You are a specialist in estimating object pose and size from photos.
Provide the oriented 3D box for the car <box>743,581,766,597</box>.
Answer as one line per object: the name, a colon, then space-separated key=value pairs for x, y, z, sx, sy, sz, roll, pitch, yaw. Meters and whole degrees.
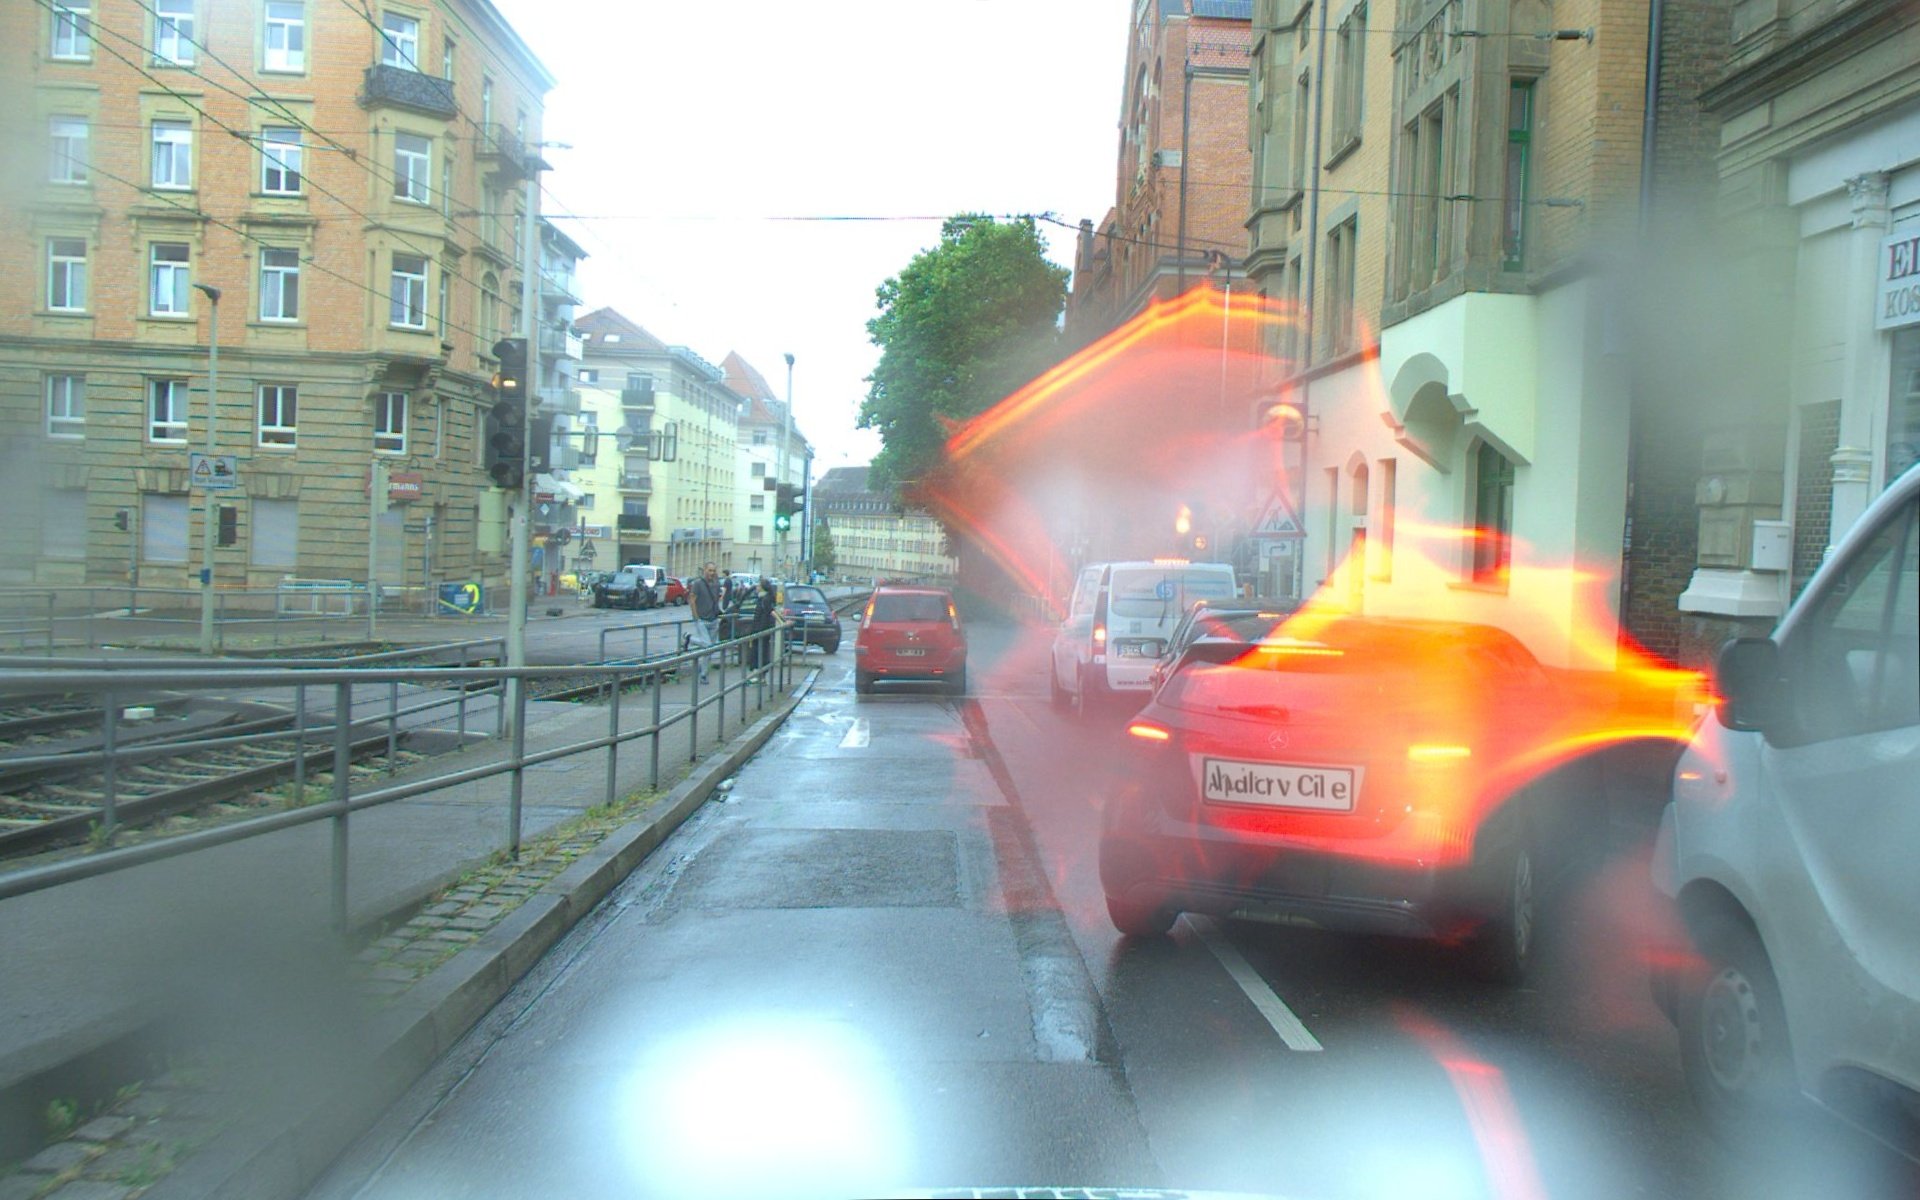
car: x=-16.060 y=-0.851 z=129.410 sx=1.367 sy=1.191 sz=3.161 roll=2 pitch=0 yaw=-1

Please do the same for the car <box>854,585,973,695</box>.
car: x=-0.743 y=0.552 z=25.178 sx=1.646 sy=1.515 sz=3.611 roll=1 pitch=0 yaw=-3

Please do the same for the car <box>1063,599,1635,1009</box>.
car: x=2.155 y=0.753 z=8.154 sx=1.858 sy=1.414 sz=3.996 roll=2 pitch=0 yaw=26

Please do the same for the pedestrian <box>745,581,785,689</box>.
pedestrian: x=-2.874 y=0.509 z=24.325 sx=0.521 sy=1.557 sz=0.436 roll=2 pitch=0 yaw=-9

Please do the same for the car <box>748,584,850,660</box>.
car: x=-3.606 y=0.470 z=36.665 sx=1.400 sy=1.515 sz=3.142 roll=2 pitch=1 yaw=-22

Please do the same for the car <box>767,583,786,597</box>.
car: x=-16.781 y=-0.896 z=151.373 sx=1.367 sy=1.191 sz=3.161 roll=2 pitch=0 yaw=-1

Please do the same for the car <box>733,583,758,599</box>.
car: x=-15.956 y=-0.668 z=123.133 sx=1.367 sy=1.191 sz=3.161 roll=2 pitch=0 yaw=-1

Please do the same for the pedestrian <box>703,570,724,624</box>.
pedestrian: x=-7.971 y=-0.101 z=53.513 sx=0.507 sy=1.695 sz=0.477 roll=3 pitch=0 yaw=2

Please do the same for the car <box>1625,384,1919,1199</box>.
car: x=3.068 y=0.531 z=2.905 sx=1.881 sy=1.969 sz=4.685 roll=2 pitch=0 yaw=0

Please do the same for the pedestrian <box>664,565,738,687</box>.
pedestrian: x=-3.820 y=0.379 z=24.400 sx=0.735 sy=1.754 sz=0.729 roll=2 pitch=0 yaw=-44

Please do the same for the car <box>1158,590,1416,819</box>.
car: x=2.485 y=0.709 z=13.436 sx=1.677 sy=1.494 sz=4.284 roll=2 pitch=0 yaw=7

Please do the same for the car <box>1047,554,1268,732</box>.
car: x=2.266 y=0.450 z=20.132 sx=1.895 sy=1.863 sz=4.278 roll=2 pitch=0 yaw=-4

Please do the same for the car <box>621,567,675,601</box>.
car: x=-14.949 y=-0.763 z=79.486 sx=1.750 sy=1.556 sz=4.462 roll=2 pitch=0 yaw=-1

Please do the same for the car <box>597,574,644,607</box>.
car: x=-14.952 y=-0.412 z=72.911 sx=1.423 sy=1.341 sz=3.294 roll=3 pitch=1 yaw=-2

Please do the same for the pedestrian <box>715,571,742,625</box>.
pedestrian: x=-7.354 y=-0.073 z=52.503 sx=0.664 sy=1.690 sz=0.676 roll=1 pitch=0 yaw=5

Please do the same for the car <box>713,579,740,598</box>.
car: x=-15.664 y=-0.767 z=110.919 sx=1.367 sy=1.191 sz=3.161 roll=2 pitch=0 yaw=-1

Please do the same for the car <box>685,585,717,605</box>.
car: x=-15.398 y=-0.309 z=98.585 sx=1.408 sy=1.126 sz=3.161 roll=2 pitch=0 yaw=-1

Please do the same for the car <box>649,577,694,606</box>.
car: x=-14.968 y=-0.434 z=85.963 sx=1.646 sy=1.379 sz=3.702 roll=2 pitch=0 yaw=-1
